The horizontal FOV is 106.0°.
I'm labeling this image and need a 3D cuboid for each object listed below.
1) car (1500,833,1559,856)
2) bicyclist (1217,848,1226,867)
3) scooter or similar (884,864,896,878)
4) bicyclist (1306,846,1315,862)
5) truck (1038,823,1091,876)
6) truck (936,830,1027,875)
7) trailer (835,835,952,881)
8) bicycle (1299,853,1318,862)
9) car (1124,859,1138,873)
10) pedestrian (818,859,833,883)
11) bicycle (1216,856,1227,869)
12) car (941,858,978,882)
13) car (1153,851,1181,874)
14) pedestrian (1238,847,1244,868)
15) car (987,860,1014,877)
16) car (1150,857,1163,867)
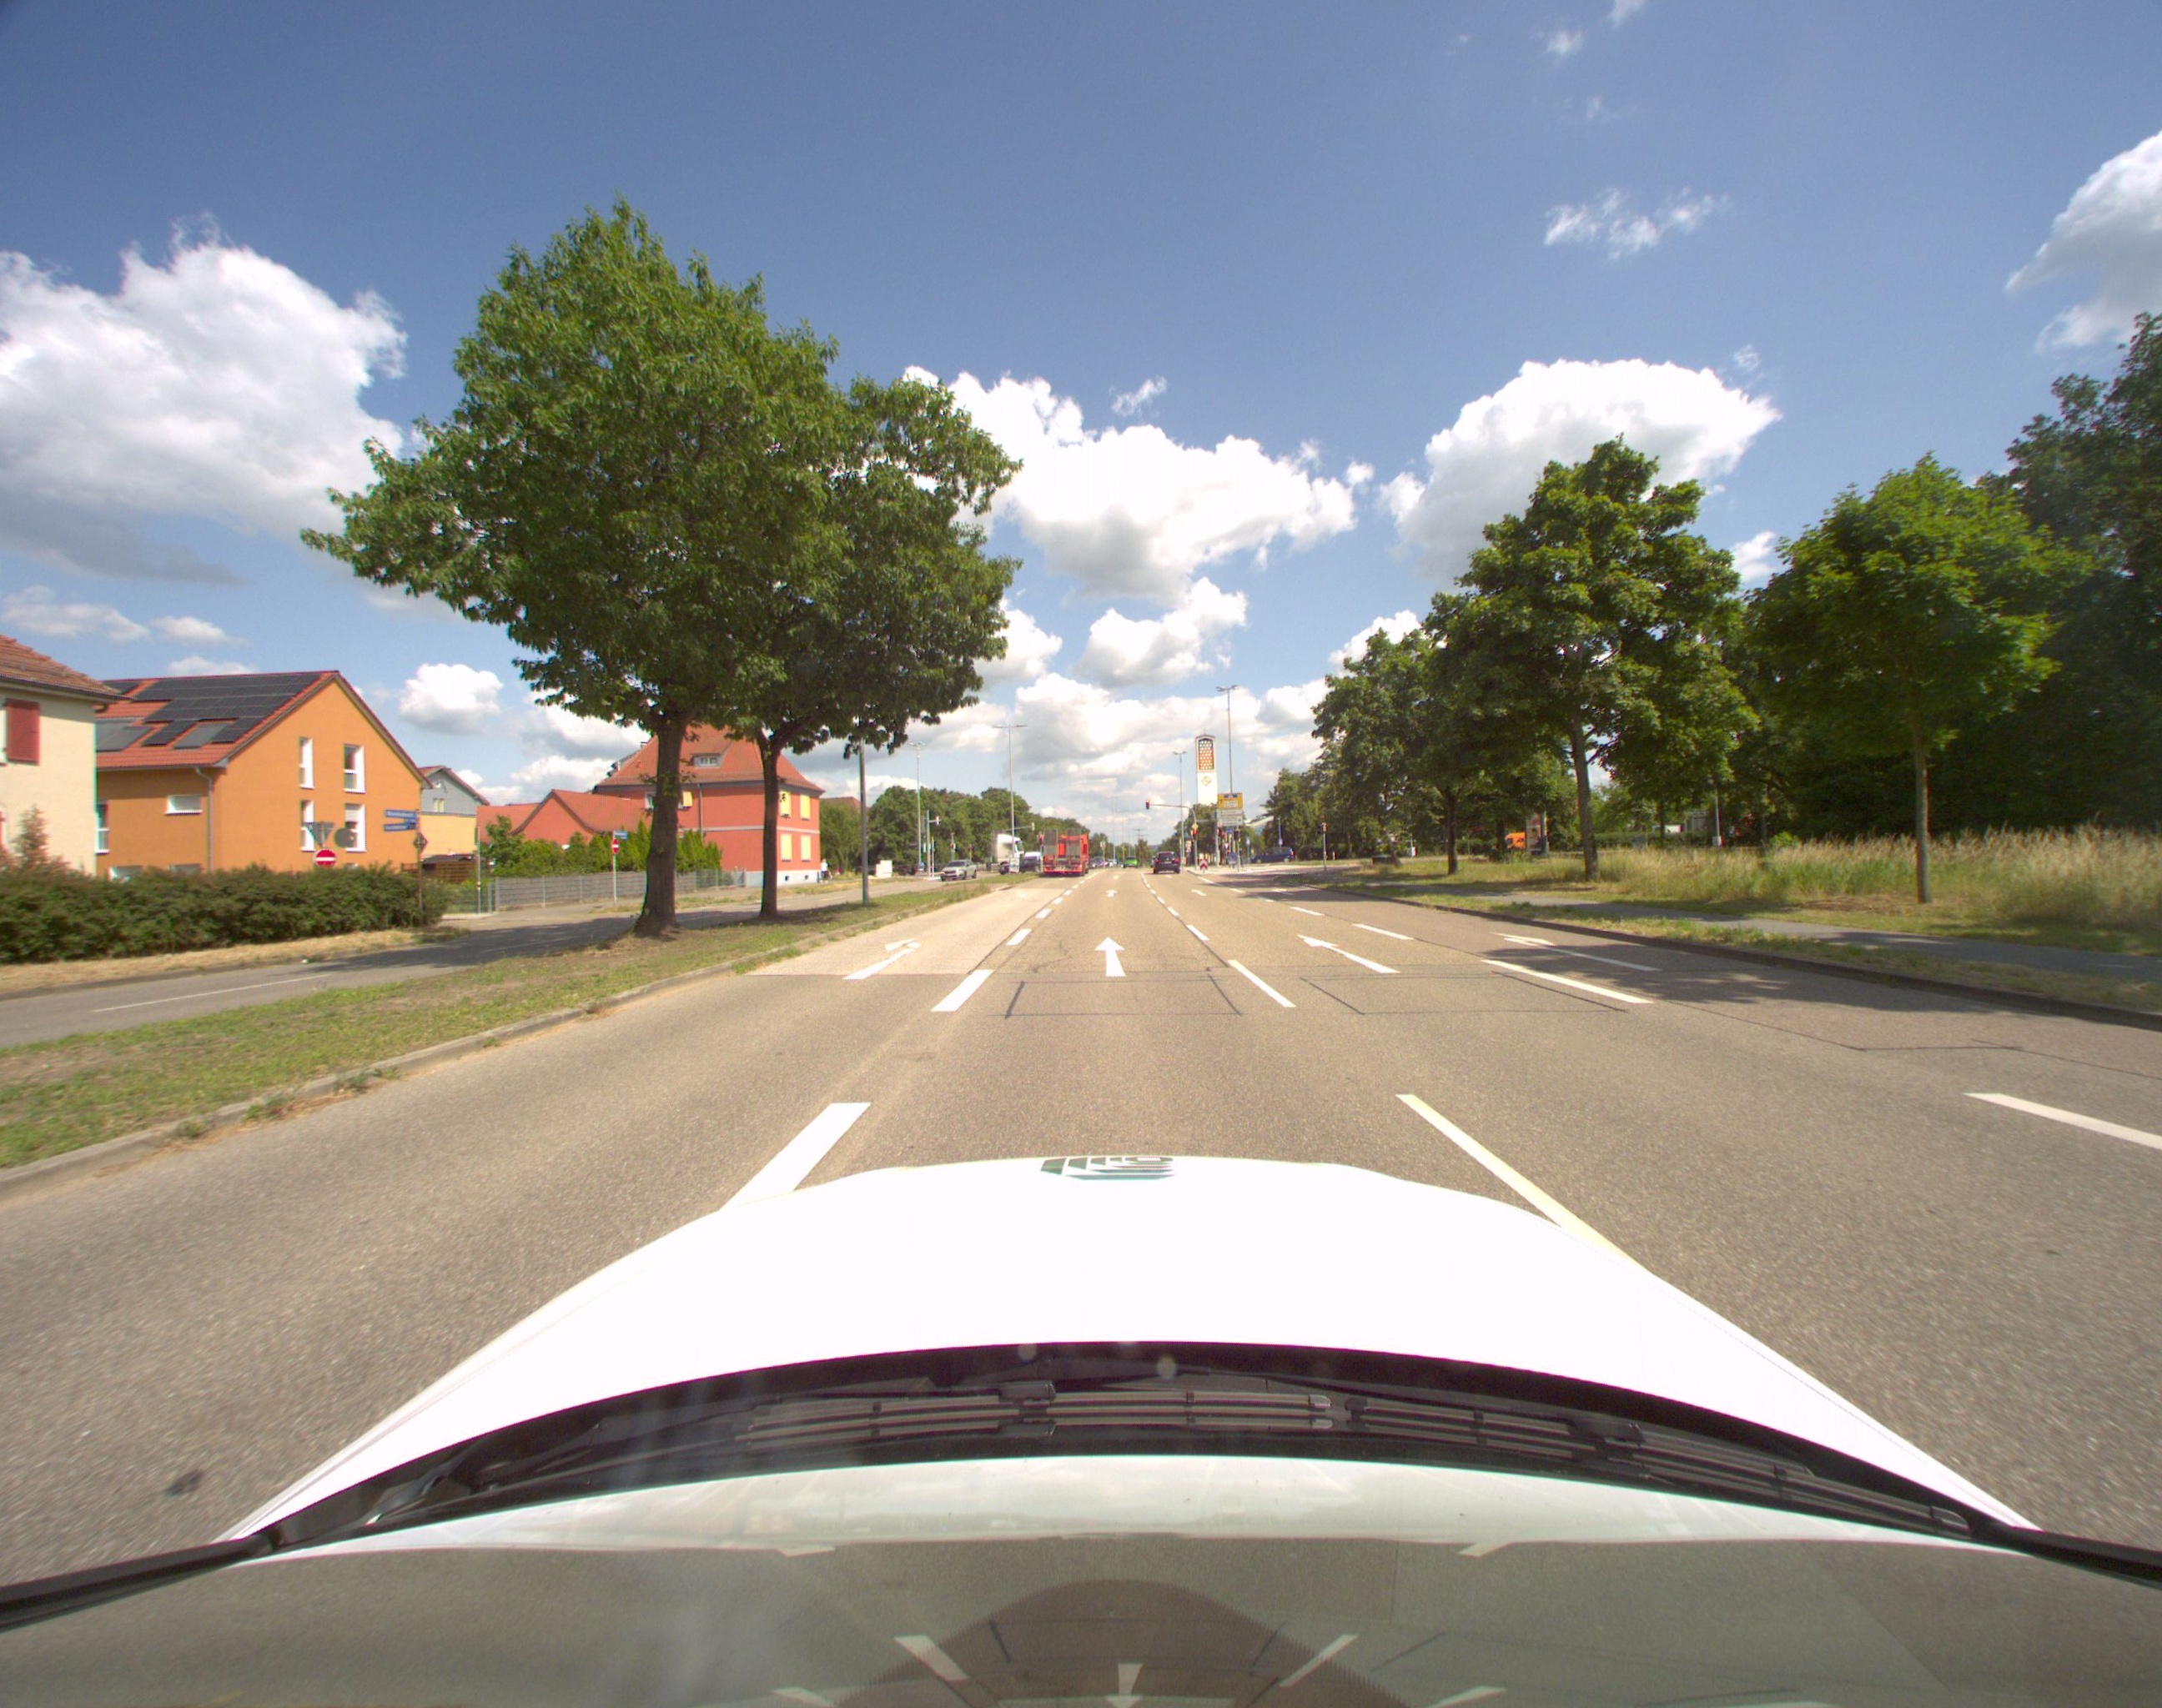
[{"bbox_3d":[44.510,-0.945,80.953,4.803,2.226,2.223,0,-1,21],"label":"car"},{"bbox_3d":[12.167,0.288,70.548,0.643,1.661,0.653,0,-1,18],"label":"bicyclist"},{"bbox_3d":[-16.495,1.480,70.425,0.587,1.164,1.762,0,-1,2],"label":"scooter or similar"},{"bbox_3d":[27.023,0.017,95.733,0.779,1.804,0.690,-2,-1,37],"label":"bicyclist"},{"bbox_3d":[-1.000,-0.173,58.363,3.058,3.414,11.074,0,-1,2],"label":"truck"},{"bbox_3d":[-10.267,-0.109,84.417,8.553,3.971,2.978,-4,-1,11],"label":"truck"},{"bbox_3d":[-19.677,0.458,85.815,11.217,4.012,3.641,-4,-1,8],"label":"trailer"},{"bbox_3d":[26.779,0.428,95.906,1.977,1.093,0.690,-2,-1,37],"label":"bicycle"},{"bbox_3d":[6.186,1.543,101.435,1.733,1.669,3.592,0,-1,2],"label":"car"},{"bbox_3d":[-17.245,1.155,55.010,0.693,1.583,0.851,0,-1,2],"label":"pedestrian"},{"bbox_3d":[12.225,0.703,70.725,0.643,1.108,1.937,0,-1,18],"label":"bicycle"},{"bbox_3d":[-8.839,1.171,59.561,1.726,1.508,4.655,-5,-1,2],"label":"car"},{"bbox_3d":[6.142,0.643,58.630,1.792,1.552,4.002,0,-1,2],"label":"car"},{"bbox_3d":[13.728,0.314,69.880,0.461,1.779,0.484,0,-1,13],"label":"pedestrian"},{"bbox_3d":[-7.191,1.290,73.200,1.764,1.438,4.578,-3,-1,2],"label":"car"},{"bbox_3d":[11.352,1.227,122.507,1.651,1.555,4.002,0,-1,2],"label":"car"}]
